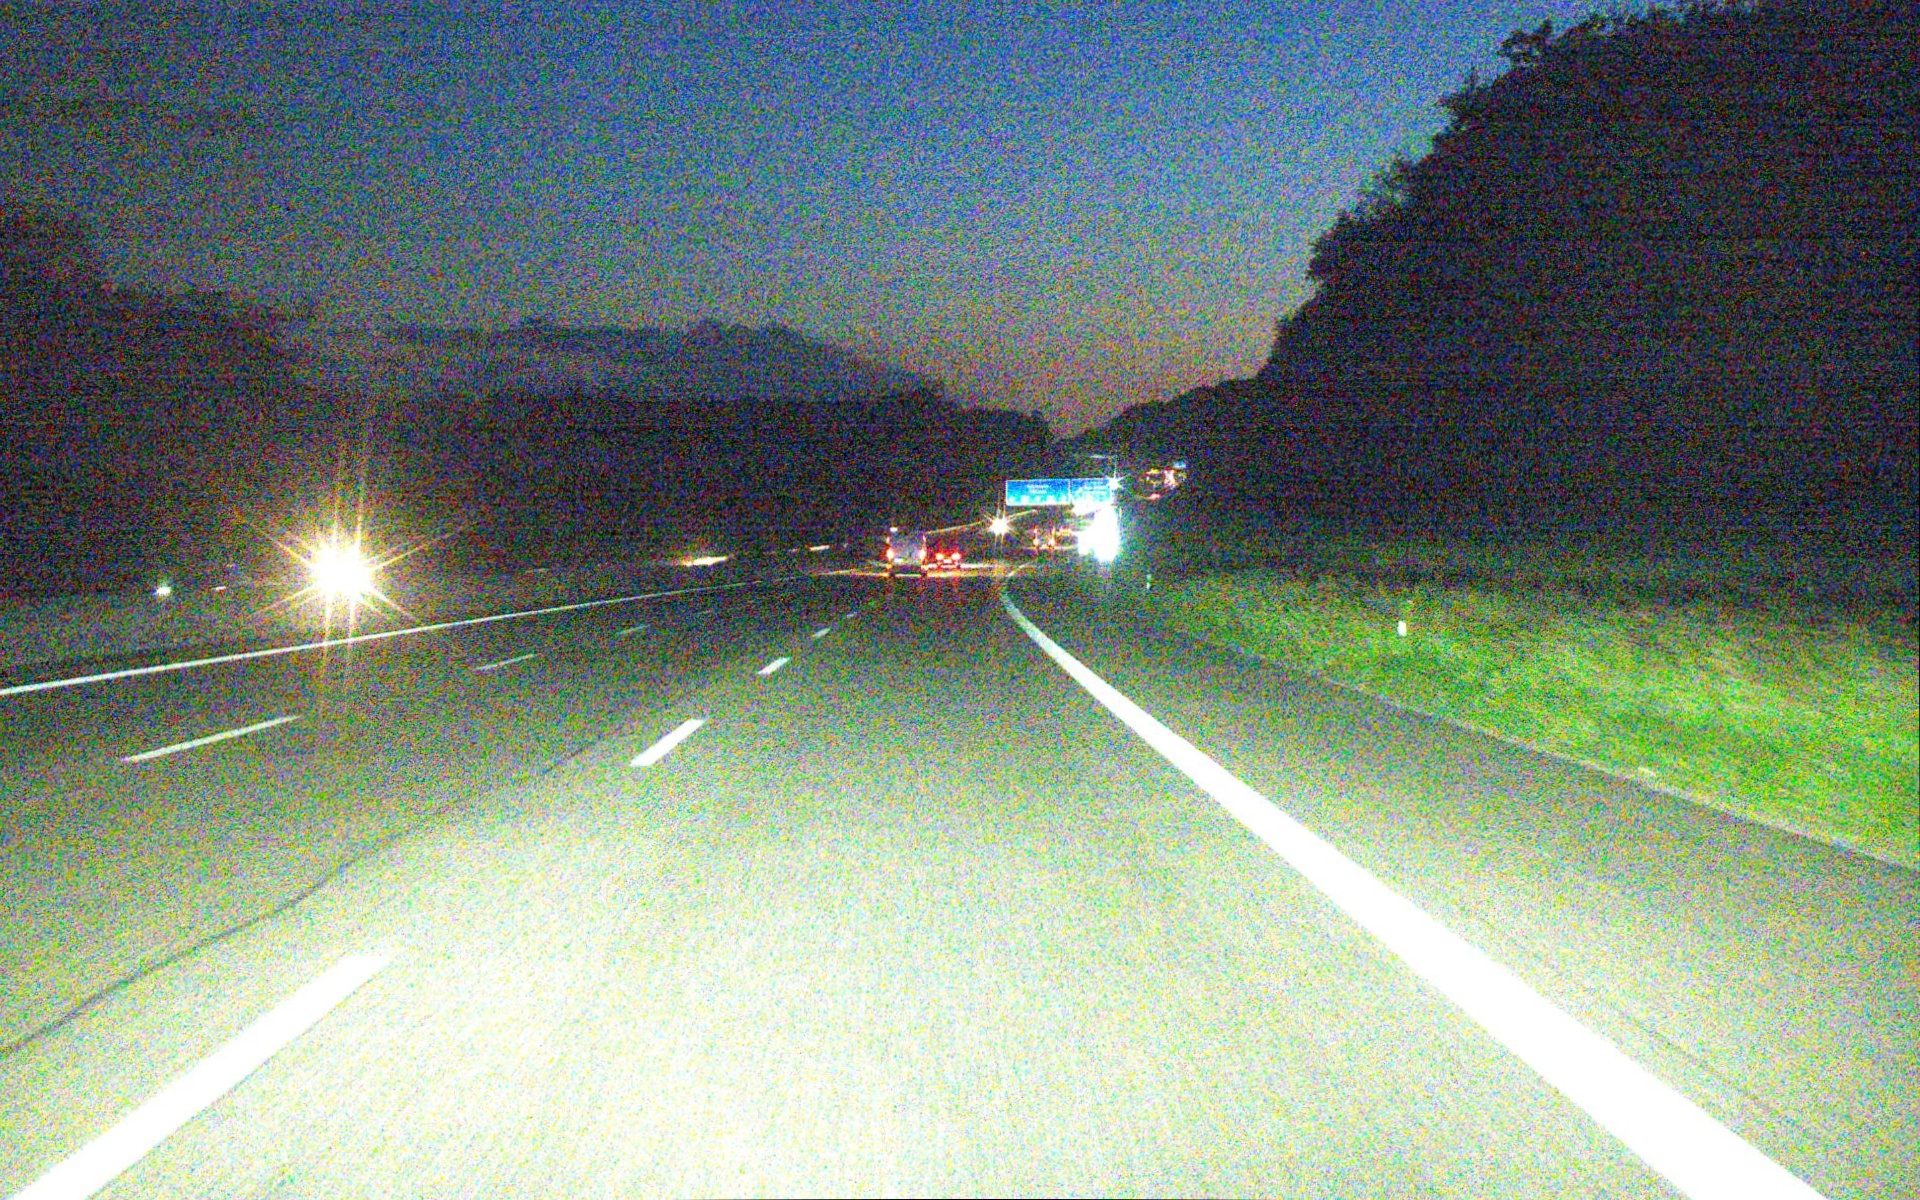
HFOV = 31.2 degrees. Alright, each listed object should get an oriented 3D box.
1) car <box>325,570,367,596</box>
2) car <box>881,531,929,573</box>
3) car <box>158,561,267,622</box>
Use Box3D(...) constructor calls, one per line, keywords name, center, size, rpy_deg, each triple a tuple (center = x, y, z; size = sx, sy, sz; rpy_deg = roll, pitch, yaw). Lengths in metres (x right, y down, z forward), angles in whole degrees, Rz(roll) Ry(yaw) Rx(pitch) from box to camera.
Box3D(name="car", center=(-31.708, -0.875, 177.532), size=(1.591, 1.260, 4.001), rpy_deg=(-1, 1, -3))
Box3D(name="car", center=(-3.078, -2.714, 192.679), size=(2.511, 2.306, 4.970), rpy_deg=(-1, 1, 1))
Box3D(name="car", center=(-19.439, -0.253, 89.557), size=(1.861, 1.492, 4.705), rpy_deg=(0, 1, -1))
